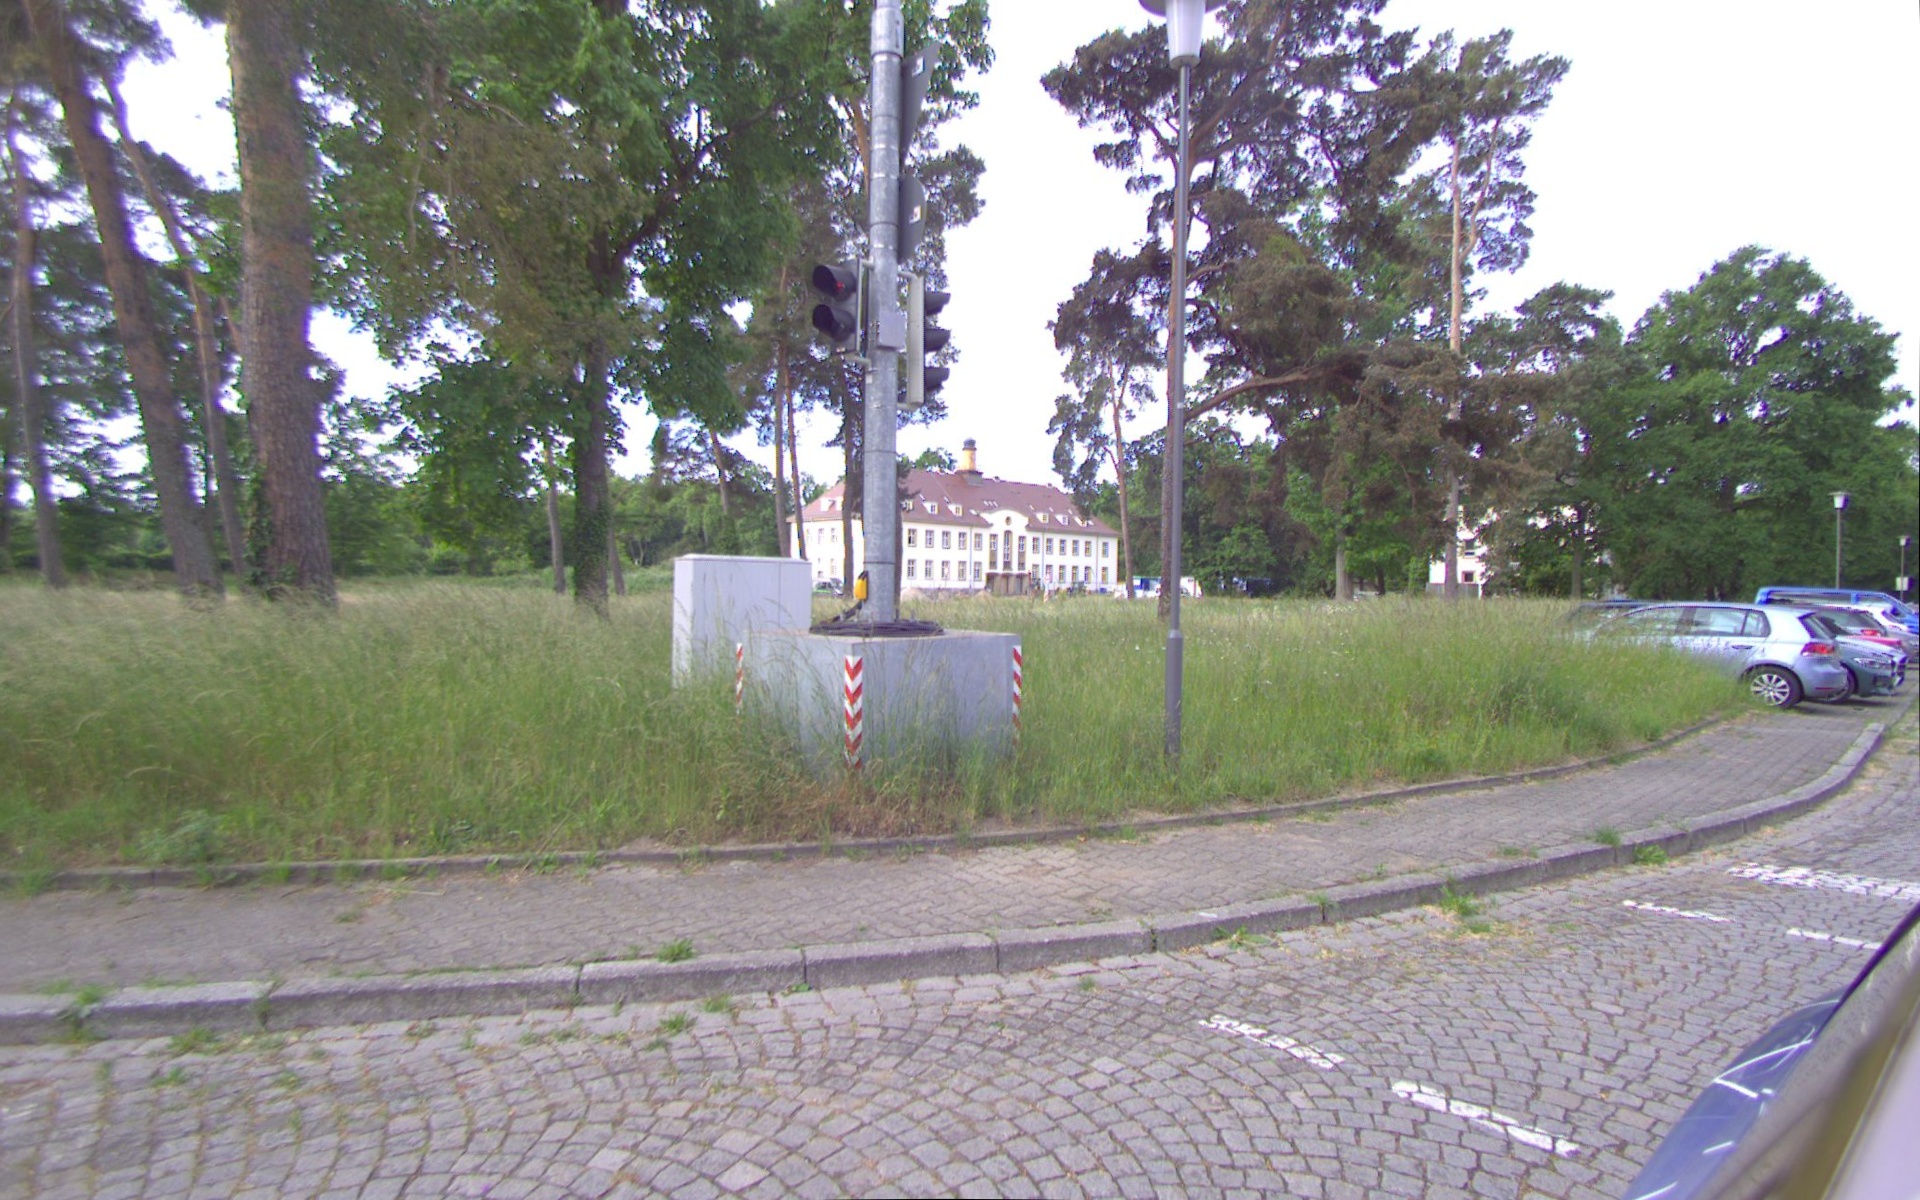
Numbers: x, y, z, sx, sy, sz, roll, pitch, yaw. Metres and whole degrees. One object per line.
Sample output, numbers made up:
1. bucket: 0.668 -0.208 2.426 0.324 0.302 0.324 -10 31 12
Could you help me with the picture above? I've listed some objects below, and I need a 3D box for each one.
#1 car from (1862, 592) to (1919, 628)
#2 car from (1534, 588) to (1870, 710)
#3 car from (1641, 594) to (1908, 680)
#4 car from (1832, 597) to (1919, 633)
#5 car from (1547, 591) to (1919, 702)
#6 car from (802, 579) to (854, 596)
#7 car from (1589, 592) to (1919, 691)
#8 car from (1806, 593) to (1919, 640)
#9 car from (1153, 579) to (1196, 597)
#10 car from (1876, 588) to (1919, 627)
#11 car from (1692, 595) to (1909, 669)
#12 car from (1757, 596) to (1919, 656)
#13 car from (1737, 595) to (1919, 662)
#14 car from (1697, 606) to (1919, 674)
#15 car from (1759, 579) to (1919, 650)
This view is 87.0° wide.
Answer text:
1. car: 48.637 0.508 51.429 1.966 1.784 4.004 0 1 -42
2. car: 10.836 0.622 14.966 1.579 1.444 3.768 1 2 -43
3. car: 16.269 0.658 20.347 1.769 1.470 3.967 0 1 -43
4. car: 41.206 0.650 44.621 1.966 1.549 3.991 0 0 -43
5. car: 12.658 0.655 16.821 4.758 1.501 1.734 2 1 44
6. car: -15.117 -1.448 115.850 6.164 1.882 2.307 2 1 38
7. car: 14.672 0.662 18.798 1.782 1.501 4.763 0 1 -43
8. car: 34.031 0.588 37.419 1.966 1.630 3.992 0 1 -43
9. car: 24.720 -1.400 116.636 5.132 2.039 2.152 0 1 -41
10. car: 51.924 0.410 54.243 1.966 2.039 3.993 0 1 -42
11. car: 19.708 0.687 23.832 1.770 1.524 3.779 0 1 -45
12. car: 23.964 0.661 27.501 1.609 1.470 3.405 0 1 -42
13. car: 22.116 0.671 25.409 1.788 1.474 3.847 0 1 -40
14. car: 18.150 0.794 21.666 1.469 1.222 3.596 1 1 -42
15. car: 27.825 0.413 31.186 1.967 1.963 4.743 0 2 -43
